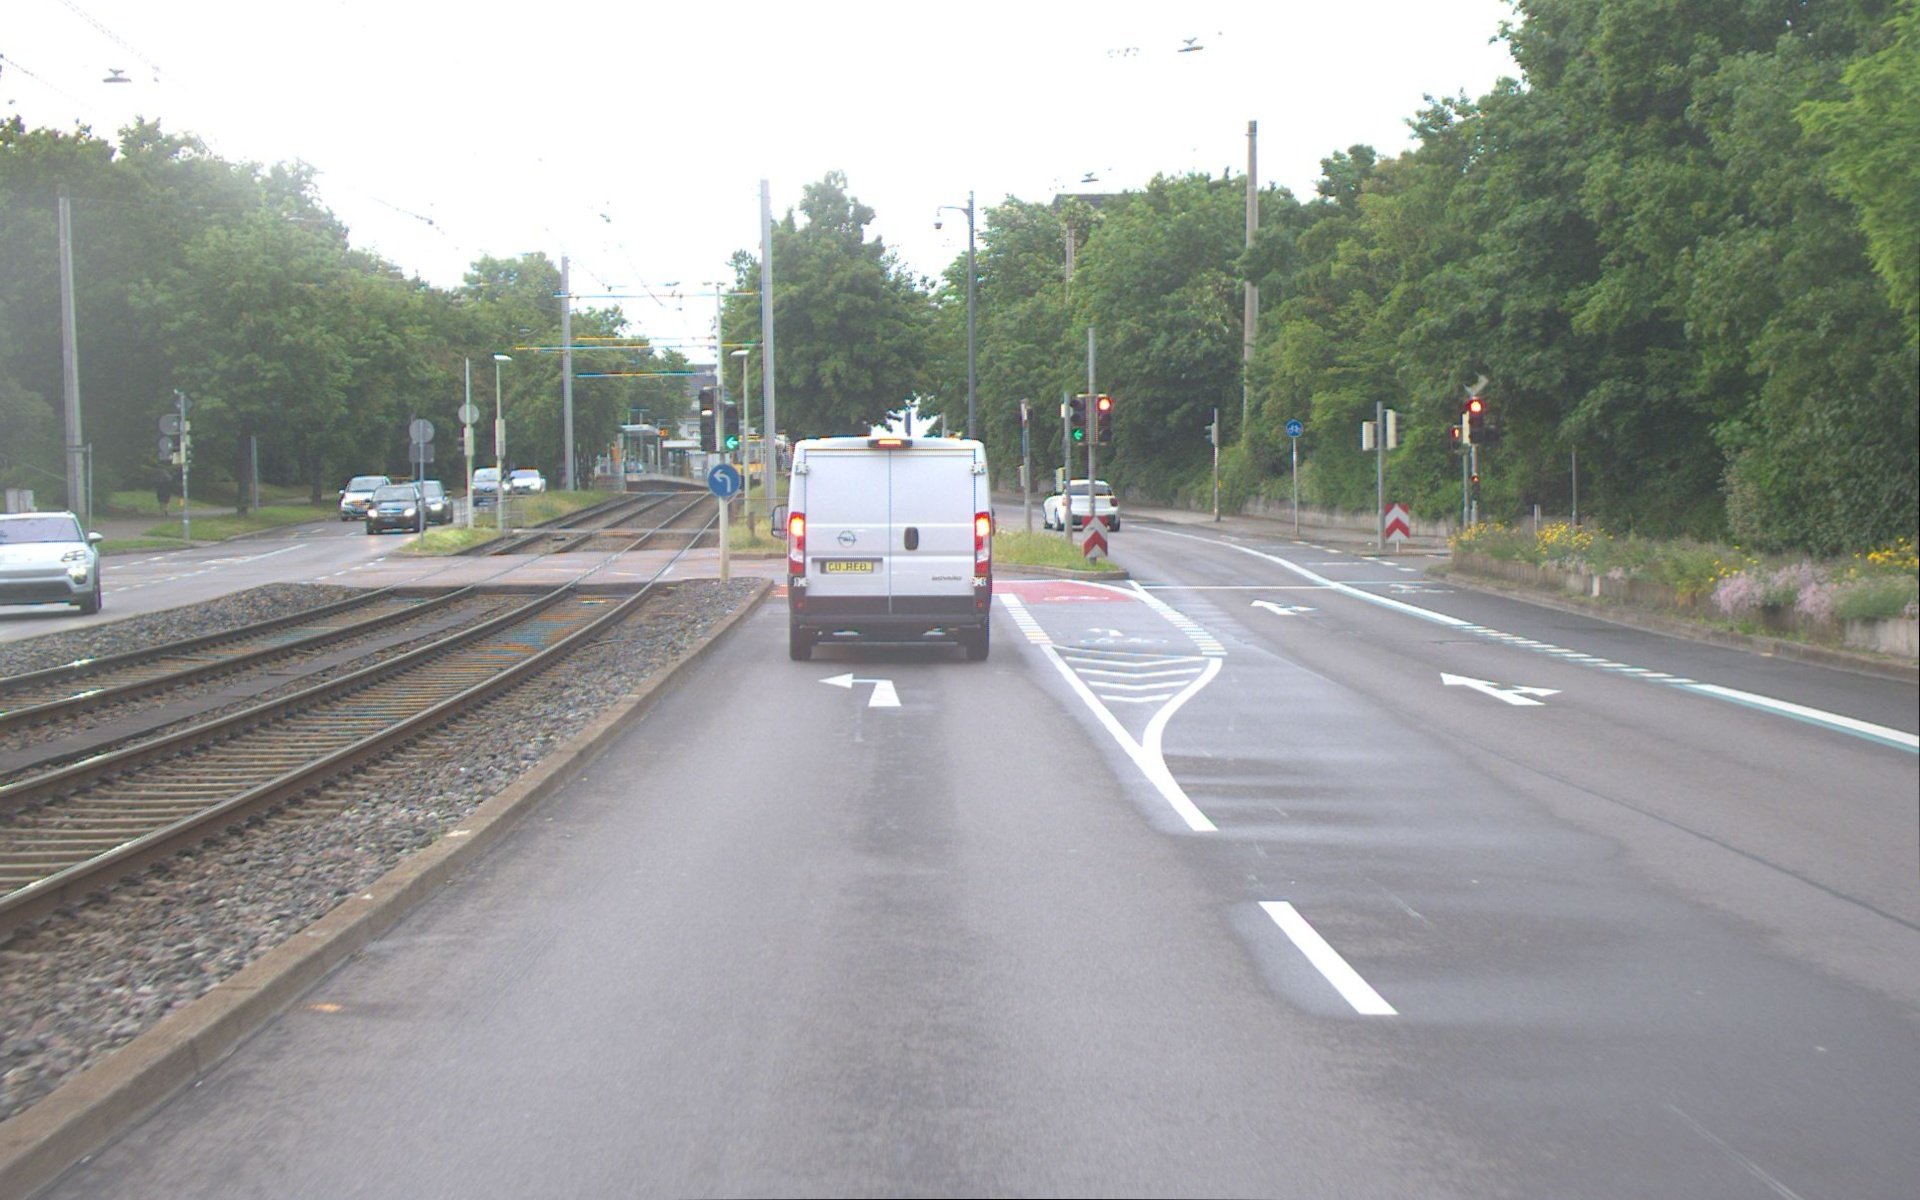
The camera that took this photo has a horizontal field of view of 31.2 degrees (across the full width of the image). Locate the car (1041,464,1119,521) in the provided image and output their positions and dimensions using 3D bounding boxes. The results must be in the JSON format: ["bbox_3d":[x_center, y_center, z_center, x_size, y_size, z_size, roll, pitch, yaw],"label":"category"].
[{"bbox_3d":[3.348,-3.031,96.483,1.703,1.516,3.793,1,3,-5],"label":"car"}]

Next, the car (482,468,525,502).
[{"bbox_3d":[-20.026,-5.042,150.804,1.601,1.397,3.793,1,3,-4],"label":"car"}]

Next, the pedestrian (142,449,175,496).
[{"bbox_3d":[-27.738,-4.423,119.005,1.013,1.595,1.040,-1,2,-8],"label":"pedestrian"}]

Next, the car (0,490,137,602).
[{"bbox_3d":[-14.414,-0.877,54.469,1.993,1.643,4.761,-3,2,-6],"label":"car"}]

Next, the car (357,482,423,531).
[{"bbox_3d":[-17.547,-2.892,105.955,1.601,1.397,3.793,1,3,-4],"label":"car"}]

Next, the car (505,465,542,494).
[{"bbox_3d":[-22.082,-6.092,173.891,1.601,1.397,3.793,1,3,-4],"label":"car"}]

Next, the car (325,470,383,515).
[{"bbox_3d":[-22.544,-4.024,128.033,1.719,1.548,3.864,1,3,-4],"label":"car"}]

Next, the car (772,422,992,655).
[{"bbox_3d":[-0.858,-0.669,36.183,2.146,2.275,5.064,0,2,-2],"label":"car"}]

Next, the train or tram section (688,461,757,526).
[{"bbox_3d":[-15.704,-7.005,228.260,4.060,3.881,15.041,1,0,-2],"label":"train or tram section"}]
